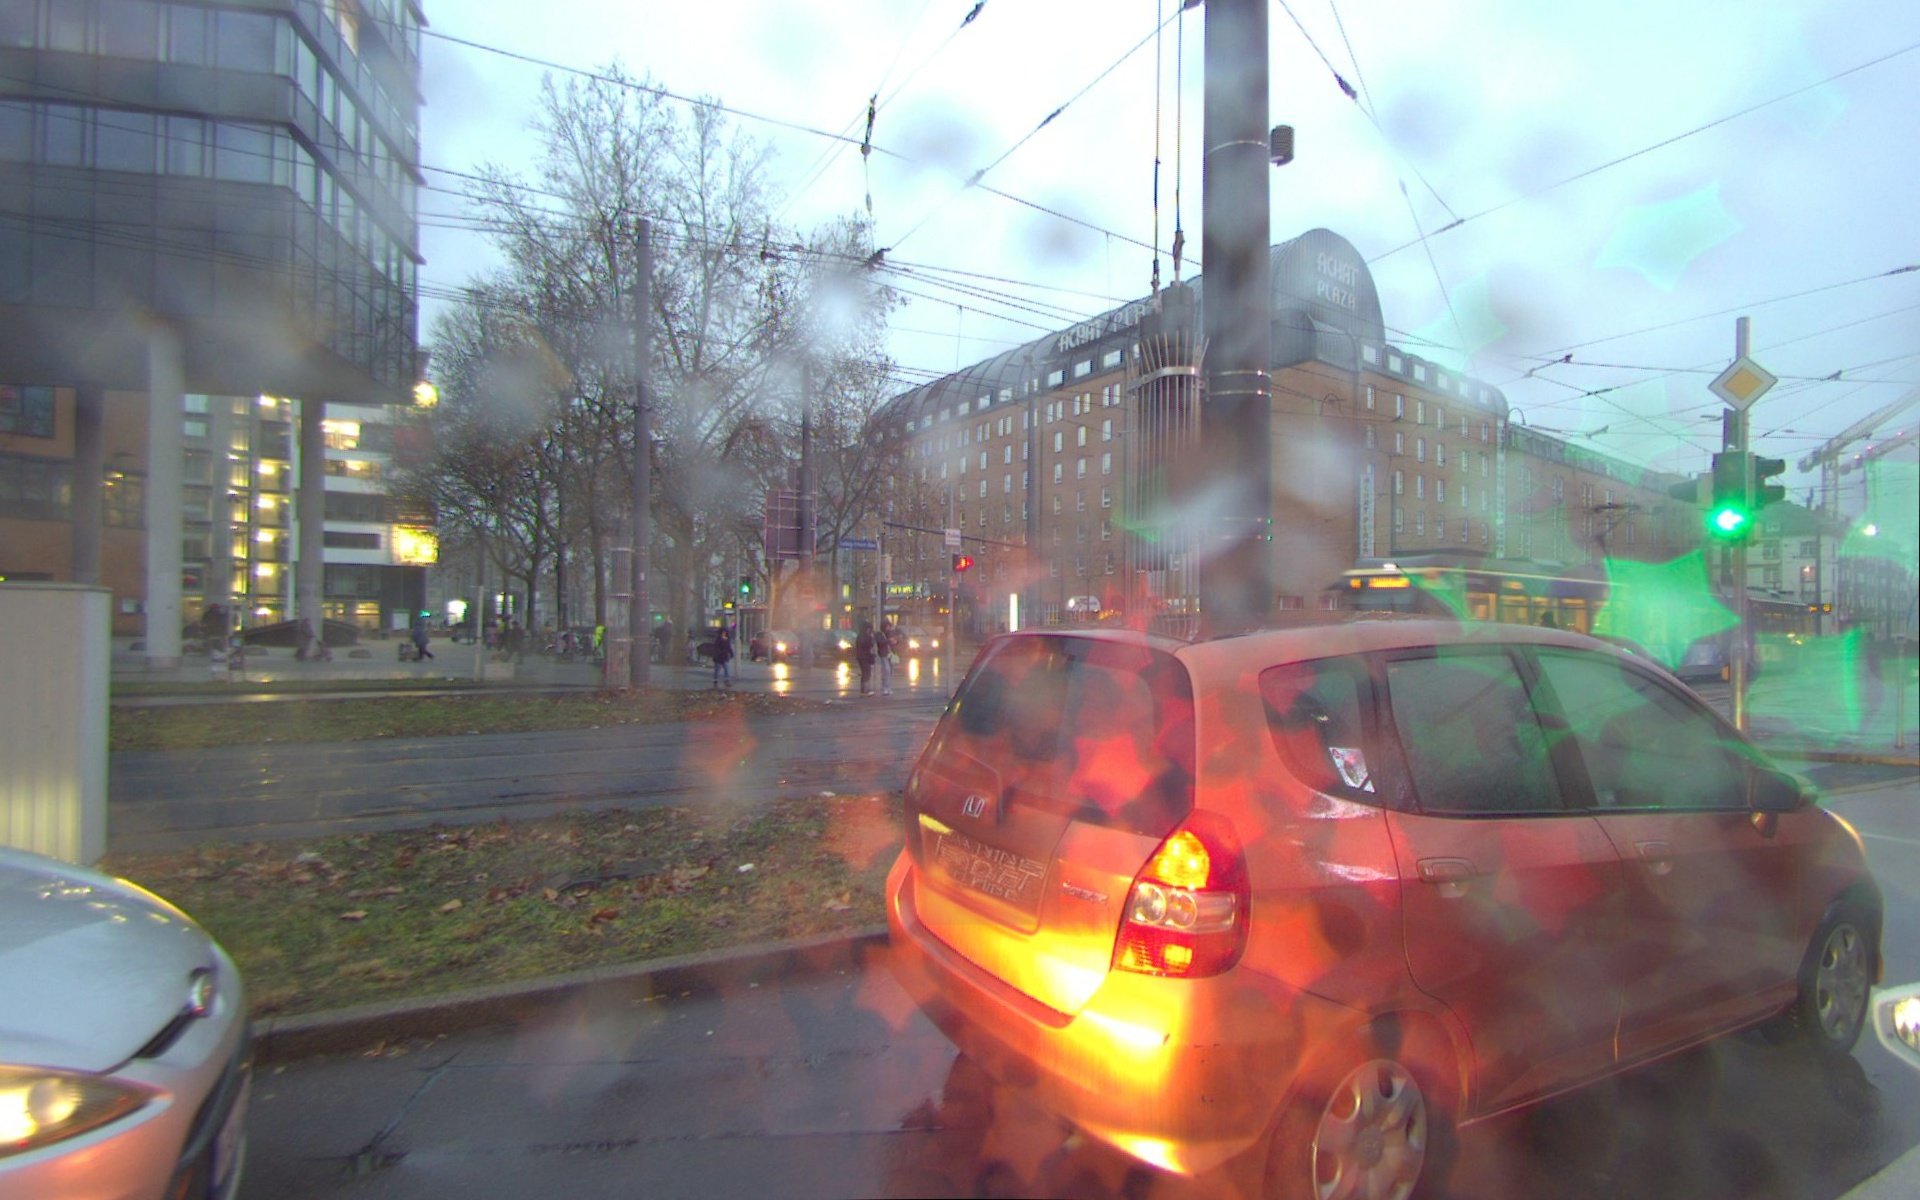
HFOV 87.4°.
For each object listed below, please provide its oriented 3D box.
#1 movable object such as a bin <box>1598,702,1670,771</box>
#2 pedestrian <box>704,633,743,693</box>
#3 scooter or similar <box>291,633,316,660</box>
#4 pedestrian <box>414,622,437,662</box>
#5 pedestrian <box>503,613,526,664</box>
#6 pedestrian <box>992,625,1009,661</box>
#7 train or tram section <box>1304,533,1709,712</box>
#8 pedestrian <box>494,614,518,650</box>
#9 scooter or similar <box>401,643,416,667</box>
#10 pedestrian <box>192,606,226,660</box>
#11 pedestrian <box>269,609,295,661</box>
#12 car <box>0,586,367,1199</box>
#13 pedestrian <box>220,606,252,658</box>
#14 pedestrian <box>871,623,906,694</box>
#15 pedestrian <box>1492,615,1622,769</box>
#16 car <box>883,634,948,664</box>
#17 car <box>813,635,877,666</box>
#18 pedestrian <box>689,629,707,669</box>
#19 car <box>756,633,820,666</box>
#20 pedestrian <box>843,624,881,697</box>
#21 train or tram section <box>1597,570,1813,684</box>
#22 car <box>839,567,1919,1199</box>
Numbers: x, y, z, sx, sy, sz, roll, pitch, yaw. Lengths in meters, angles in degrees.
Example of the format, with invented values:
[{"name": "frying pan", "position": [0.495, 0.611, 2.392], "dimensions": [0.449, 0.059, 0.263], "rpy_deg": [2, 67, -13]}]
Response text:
[{"name": "movable object such as a bin", "position": [7.343, 1.479, 10.957], "dimensions": [0.527, 0.708, 0.413], "rpy_deg": [0, -3, 11]}, {"name": "pedestrian", "position": [-6.056, 1.601, 25.732], "dimensions": [0.667, 1.519, 0.734], "rpy_deg": [-1, -2, 42]}, {"name": "scooter or similar", "position": [-23.249, 1.646, 35.578], "dimensions": [0.657, 0.973, 0.550], "rpy_deg": [1, -2, -24]}, {"name": "pedestrian", "position": [-20.048, 1.585, 37.699], "dimensions": [0.675, 1.478, 0.569], "rpy_deg": [1, -2, -24]}, {"name": "pedestrian", "position": [-16.810, 1.450, 37.908], "dimensions": [0.725, 1.888, 0.569], "rpy_deg": [1, -2, -24]}, {"name": "pedestrian", "position": [2.079, 2.201, 51.501], "dimensions": [0.622, 1.781, 0.566], "rpy_deg": [0, -2, 33]}, {"name": "train or tram section", "position": [16.318, 0.746, 28.046], "dimensions": [19.905, 3.662, 2.841], "rpy_deg": [2, -2, -40]}, {"name": "pedestrian", "position": [-22.470, 1.594, 49.718], "dimensions": [0.720, 1.783, 0.821], "rpy_deg": [0, -2, 5]}, {"name": "scooter or similar", "position": [-20.576, 2.057, 37.460], "dimensions": [0.426, 0.861, 0.550], "rpy_deg": [1, -2, -24]}, {"name": "pedestrian", "position": [-26.743, 1.166, 35.770], "dimensions": [0.561, 1.888, 0.736], "rpy_deg": [0, -2, 6]}, {"name": "pedestrian", "position": [-23.839, 1.226, 35.319], "dimensions": [0.628, 1.797, 0.569], "rpy_deg": [1, -2, -24]}, {"name": "car", "position": [-3.085, 0.674, 1.230], "dimensions": [3.951, 1.467, 1.698], "rpy_deg": [2, 0, -29]}, {"name": "pedestrian", "position": [-26.605, 1.172, 36.906], "dimensions": [0.561, 1.888, 0.736], "rpy_deg": [0, -2, 5]}, {"name": "pedestrian", "position": [-1.576, 1.278, 22.120], "dimensions": [0.607, 1.532, 0.517], "rpy_deg": [1, -1, -29]}, {"name": "pedestrian", "position": [6.562, 0.997, 11.090], "dimensions": [1.016, 1.621, 0.716], "rpy_deg": [-1, -3, 12]}, {"name": "car", "position": [-2.377, 2.564, 52.812], "dimensions": [1.974, 1.446, 3.974], "rpy_deg": [1, -1, -26]}, {"name": "car", "position": [-5.840, 2.526, 50.583], "dimensions": [1.974, 1.446, 3.974], "rpy_deg": [1, -1, -26]}, {"name": "pedestrian", "position": [-11.505, 2.143, 44.102], "dimensions": [0.679, 1.728, 0.526], "rpy_deg": [1, -2, -6]}, {"name": "car", "position": [-8.237, 2.327, 47.937], "dimensions": [1.974, 1.446, 3.974], "rpy_deg": [1, -1, -26]}, {"name": "pedestrian", "position": [-2.114, 1.290, 21.678], "dimensions": [0.638, 1.532, 0.558], "rpy_deg": [1, -1, -31]}, {"name": "train or tram section", "position": [29.925, 1.160, 39.607], "dimensions": [19.063, 3.662, 2.840], "rpy_deg": [2, -2, -41]}, {"name": "car", "position": [1.624, 0.740, 3.504], "dimensions": [3.713, 1.478, 1.690], "rpy_deg": [1, -2, -30]}]
